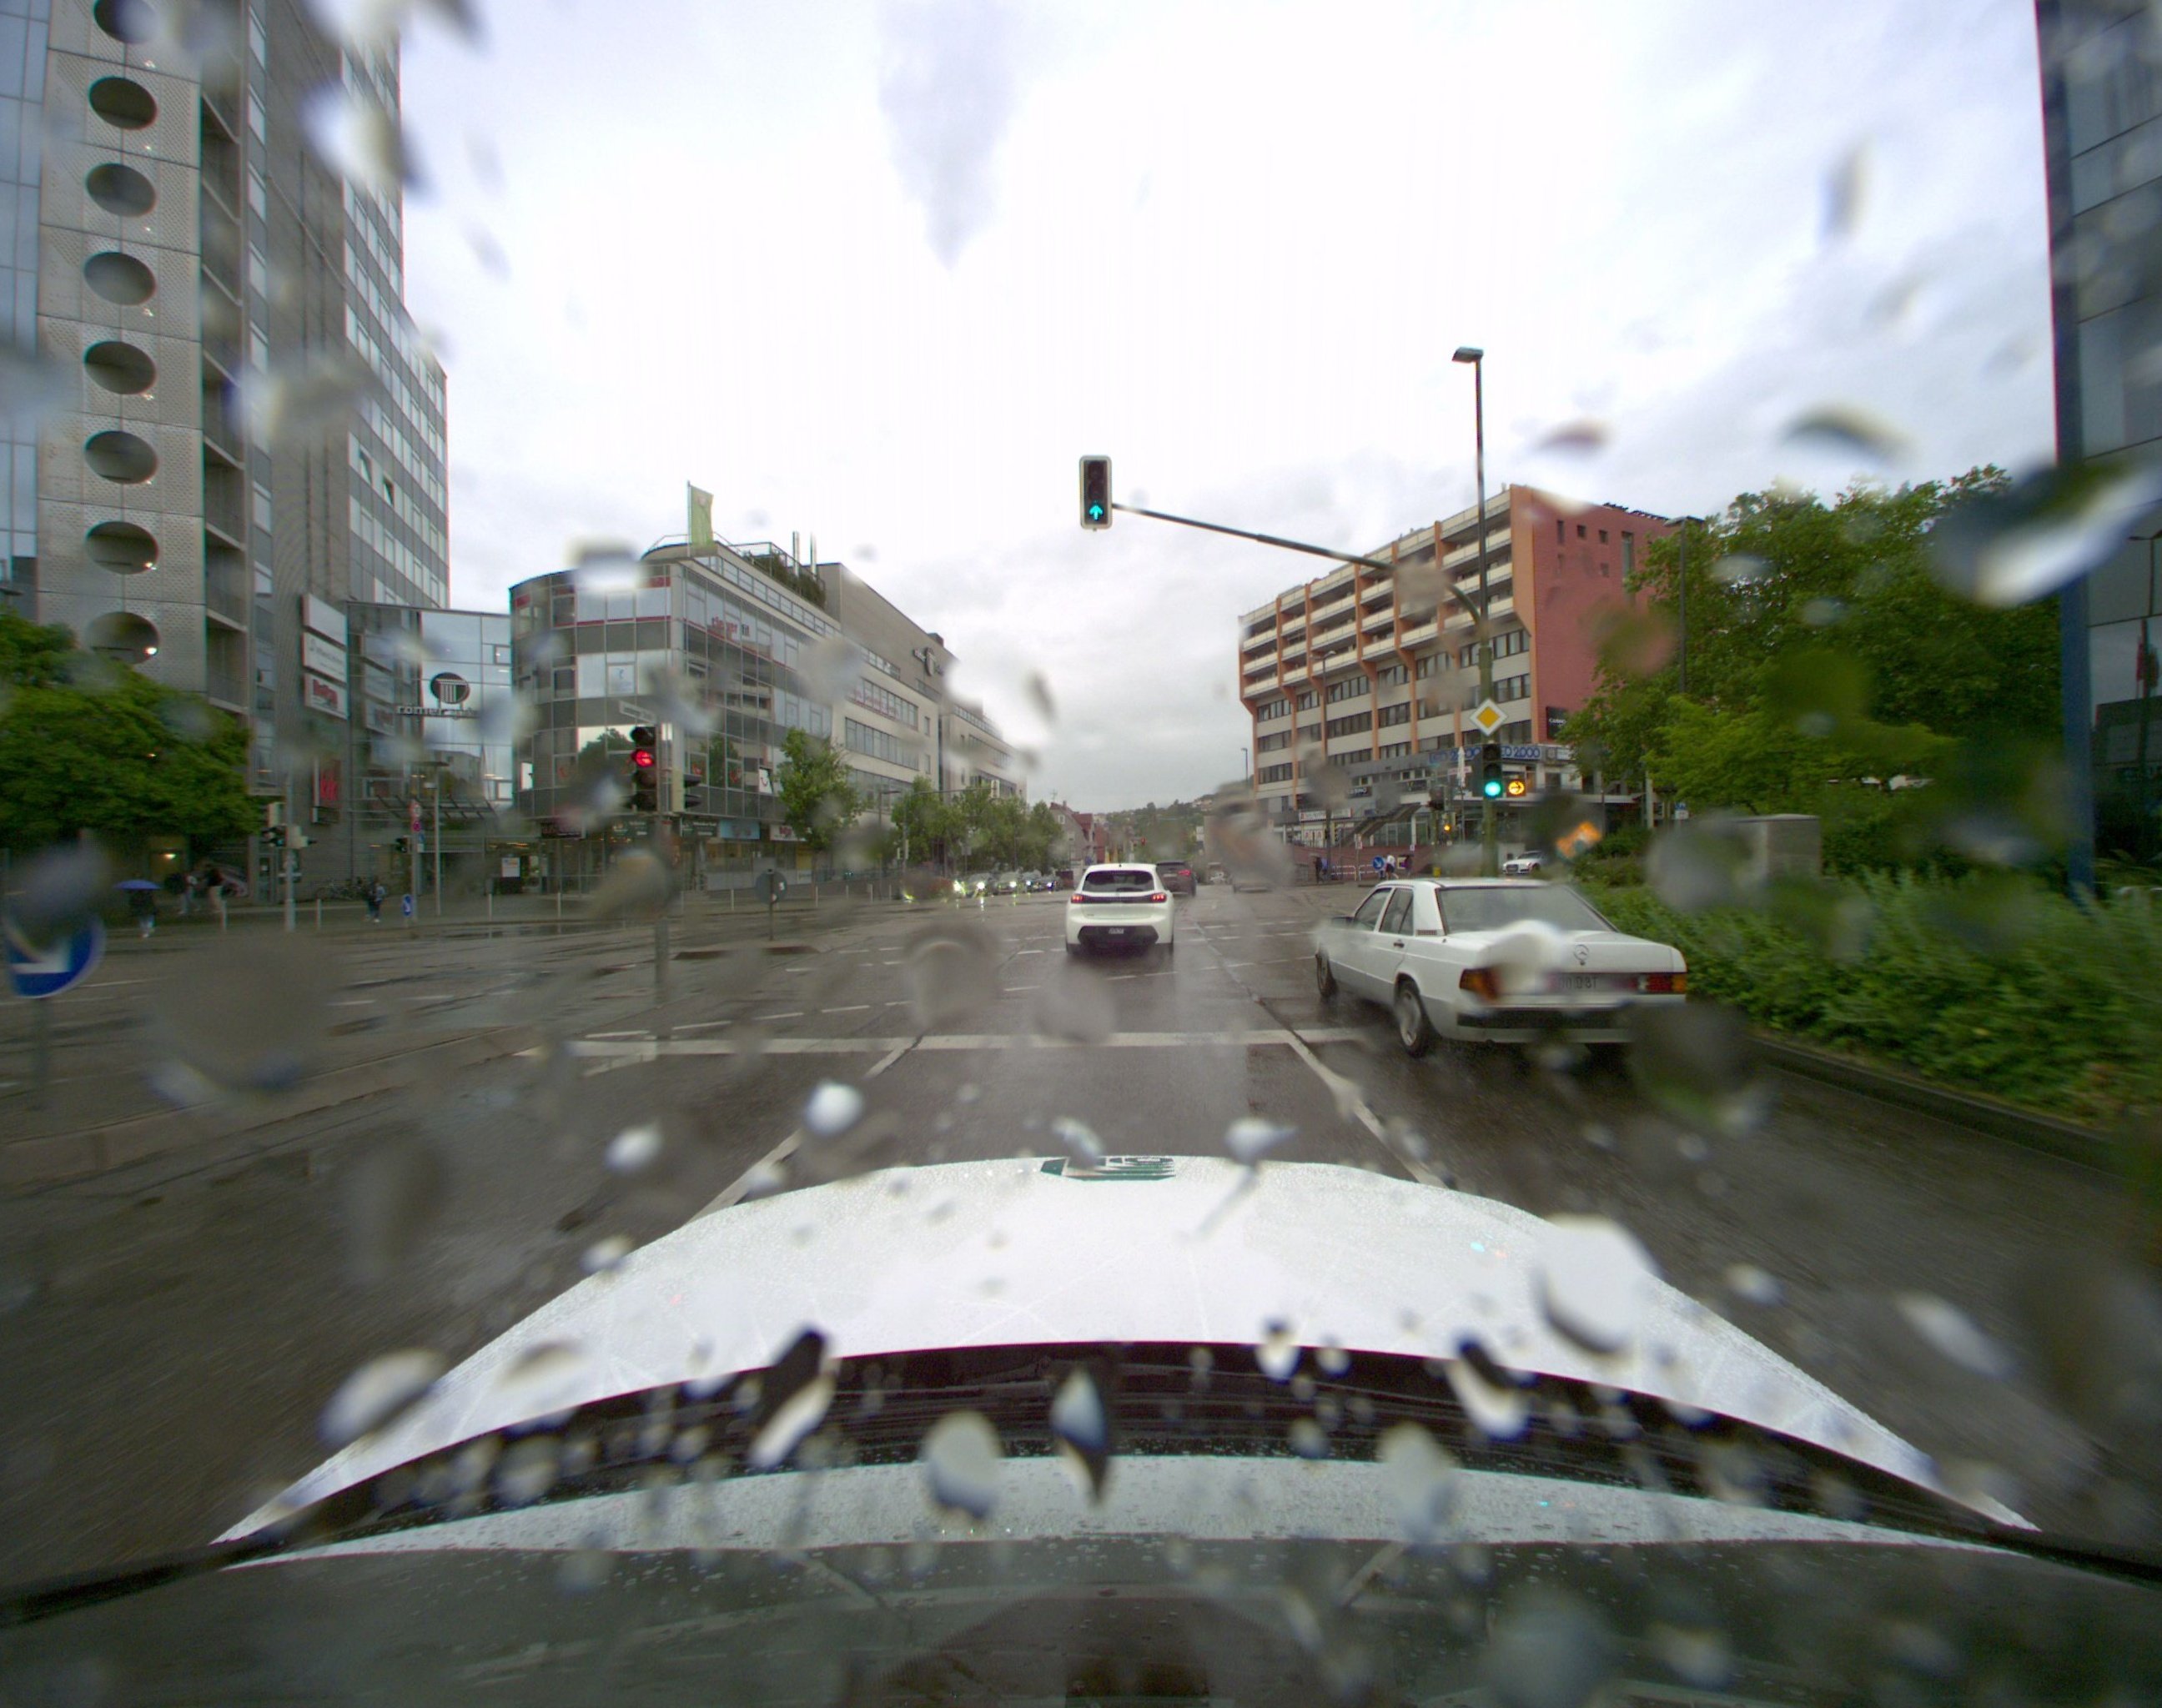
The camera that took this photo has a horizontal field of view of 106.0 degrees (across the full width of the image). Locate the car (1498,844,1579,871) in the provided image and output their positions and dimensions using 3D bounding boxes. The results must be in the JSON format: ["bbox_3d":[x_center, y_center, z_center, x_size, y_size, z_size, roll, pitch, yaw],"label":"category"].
[{"bbox_3d":[27.165,0.207,48.326,4.802,1.406,1.796,-2,-2,-28],"label":"car"}]

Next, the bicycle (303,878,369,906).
[{"bbox_3d":[-36.709,1.854,40.148,2.284,1.247,0.671,-1,-1,-25],"label":"bicycle"}]

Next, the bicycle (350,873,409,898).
[{"bbox_3d":[-37.424,1.677,43.478,2.284,1.247,0.671,-1,-1,-25],"label":"bicycle"}]

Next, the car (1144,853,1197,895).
[{"bbox_3d":[3.628,0.798,32.454,1.804,1.530,3.822,-2,-2,9],"label":"car"}]

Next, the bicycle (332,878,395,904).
[{"bbox_3d":[-36.309,1.851,41.264,2.284,1.247,0.671,0,-1,-24],"label":"bicycle"}]

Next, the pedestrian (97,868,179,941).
[{"bbox_3d":[-27.327,1.416,23.648,1.169,2.014,1.316,0,-1,-30],"label":"pedestrian"}]

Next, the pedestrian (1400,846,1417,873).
[{"bbox_3d":[20.769,0.339,51.691,0.789,1.668,0.933,-2,-1,8],"label":"pedestrian"}]

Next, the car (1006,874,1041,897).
[{"bbox_3d":[-4.587,2.478,65.472,1.764,1.594,4.598,-5,-2,8],"label":"car"}]

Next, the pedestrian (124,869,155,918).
[{"bbox_3d":[-36.514,1.512,31.580,0.823,1.868,0.758,-2,-1,42],"label":"pedestrian"}]

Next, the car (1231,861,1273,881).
[{"bbox_3d":[20.028,2.035,95.528,2.005,2.226,4.930,-2,-1,-28],"label":"car"}]

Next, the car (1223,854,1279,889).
[{"bbox_3d":[7.291,0.751,35.217,1.903,1.400,3.462,-1,-1,5],"label":"car"}]

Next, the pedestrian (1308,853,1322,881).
[{"bbox_3d":[13.346,0.742,46.501,0.703,1.607,0.658,-2,-1,11],"label":"pedestrian"}]

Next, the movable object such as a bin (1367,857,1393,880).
[{"bbox_3d":[19.023,0.953,51.854,1.124,1.332,1.457,-4,-4,7],"label":"movable object such as a bin"}]

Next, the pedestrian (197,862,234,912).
[{"bbox_3d":[-35.122,1.328,33.064,0.712,2.014,0.763,-1,-1,-9],"label":"pedestrian"}]

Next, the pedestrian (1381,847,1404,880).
[{"bbox_3d":[16.468,0.515,43.089,0.824,1.691,1.130,-1,-1,5],"label":"pedestrian"}]

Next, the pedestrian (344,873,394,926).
[{"bbox_3d":[-25.401,1.601,29.060,0.840,1.819,1.027,-2,-1,9],"label":"pedestrian"}]

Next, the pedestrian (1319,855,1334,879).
[{"bbox_3d":[14.239,0.753,47.189,0.703,1.346,0.657,-2,-2,11],"label":"pedestrian"}]

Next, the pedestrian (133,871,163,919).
[{"bbox_3d":[-37.522,1.653,32.740,0.823,1.868,0.758,-2,-1,40],"label":"pedestrian"}]

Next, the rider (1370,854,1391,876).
[{"bbox_3d":[19.037,0.697,51.757,0.917,1.284,1.093,-4,0,7],"label":"rider"}]

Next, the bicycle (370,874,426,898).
[{"bbox_3d":[-37.879,1.739,45.183,2.284,1.247,0.671,-1,-1,-25],"label":"bicycle"}]

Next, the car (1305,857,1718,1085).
[{"bbox_3d":[3.338,0.790,7.360,1.627,1.448,4.270,0,-1,2],"label":"car"}]

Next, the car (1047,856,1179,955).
[{"bbox_3d":[0.702,0.773,14.020,1.861,1.462,3.882,0,0,8],"label":"car"}]

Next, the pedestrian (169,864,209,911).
[{"bbox_3d":[-36.007,1.354,32.879,0.825,1.868,0.755,-2,-1,10],"label":"pedestrian"}]

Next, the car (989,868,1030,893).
[{"bbox_3d":[-5.107,1.877,58.745,1.865,1.594,4.534,-5,-2,8],"label":"car"}]

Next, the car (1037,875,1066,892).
[{"bbox_3d":[-2.559,2.545,71.741,1.716,1.388,4.608,-3,-2,7],"label":"car"}]

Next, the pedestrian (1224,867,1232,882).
[{"bbox_3d":[18.022,2.558,99.829,0.643,1.823,0.578,-2,-2,-25],"label":"pedestrian"}]

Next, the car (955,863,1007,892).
[{"bbox_3d":[-5.968,1.412,49.149,1.910,1.632,4.911,-2,-2,7],"label":"car"}]
